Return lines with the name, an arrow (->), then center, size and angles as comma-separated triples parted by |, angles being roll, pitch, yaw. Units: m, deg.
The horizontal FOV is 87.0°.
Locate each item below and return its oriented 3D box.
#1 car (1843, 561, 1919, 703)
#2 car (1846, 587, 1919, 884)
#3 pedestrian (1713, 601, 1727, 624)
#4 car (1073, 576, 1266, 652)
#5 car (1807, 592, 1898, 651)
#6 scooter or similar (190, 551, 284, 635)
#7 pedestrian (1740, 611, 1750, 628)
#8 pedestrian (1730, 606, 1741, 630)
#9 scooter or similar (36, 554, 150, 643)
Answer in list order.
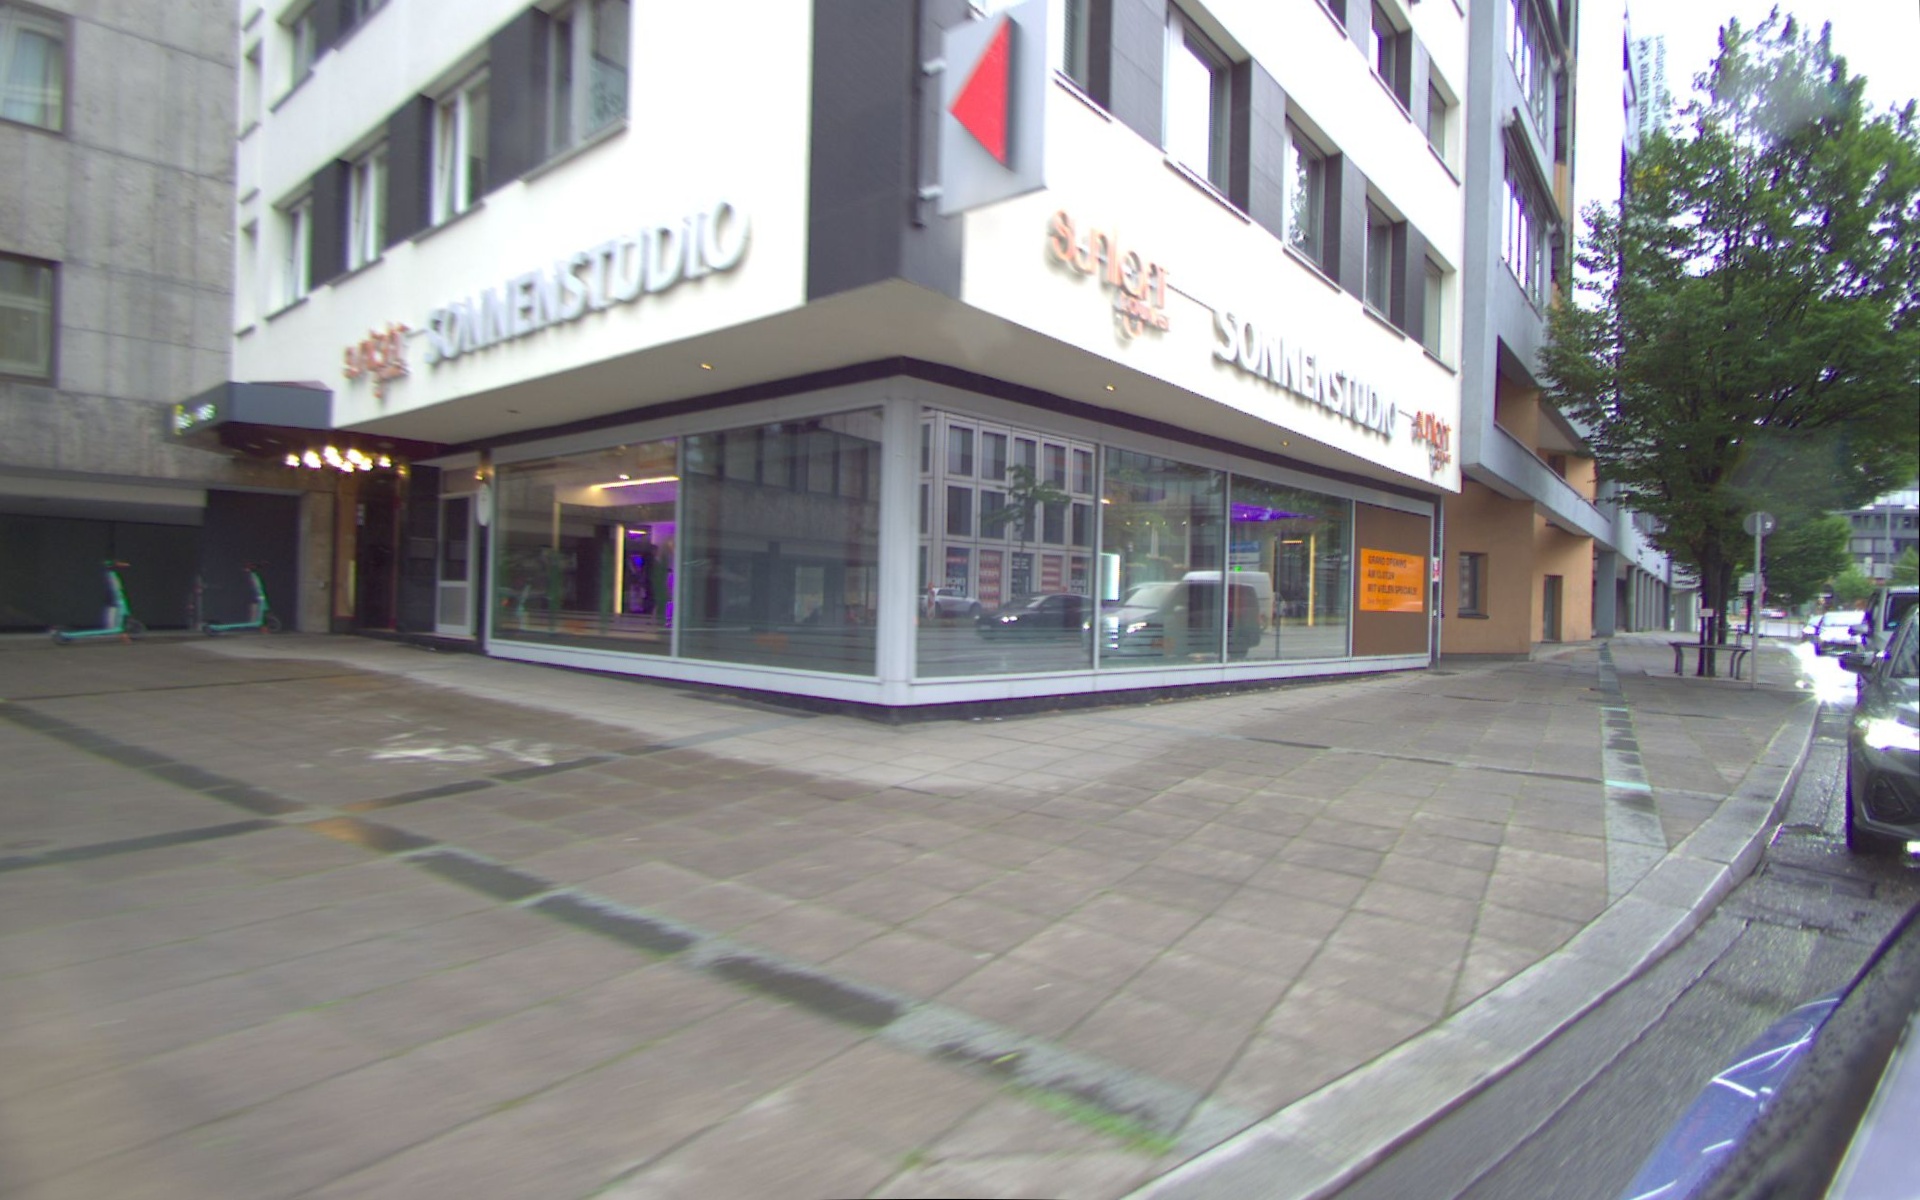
car -> 14.780, 0.414, 15.302 | 2.052, 1.916, 4.975 | 0, 0, 40
car -> 7.067, 0.698, 6.361 | 4.314, 1.571, 1.799 | -1, 0, -43
pedestrian -> 58.980, 0.967, 78.541 | 0.789, 1.805, 0.883 | -1, -2, 36
car -> 5.017, 0.281, 23.825 | 4.844, 1.629, 1.996 | -1, 0, -43
car -> 31.022, 0.689, 35.292 | 2.050, 1.916, 4.979 | 0, 0, 38
scooter or similar -> -12.203, -0.119, 17.100 | 0.517, 1.354, 1.213 | -1, 0, 40
pedestrian -> 75.867, 1.864, 97.795 | 0.649, 1.618, 1.046 | -1, 0, 33
pedestrian -> 60.113, 1.392, 78.434 | 0.638, 1.805, 0.867 | -1, -2, 39
scooter or similar -> -12.954, -0.037, 15.134 | 0.562, 1.269, 1.213 | 3, 2, 40
